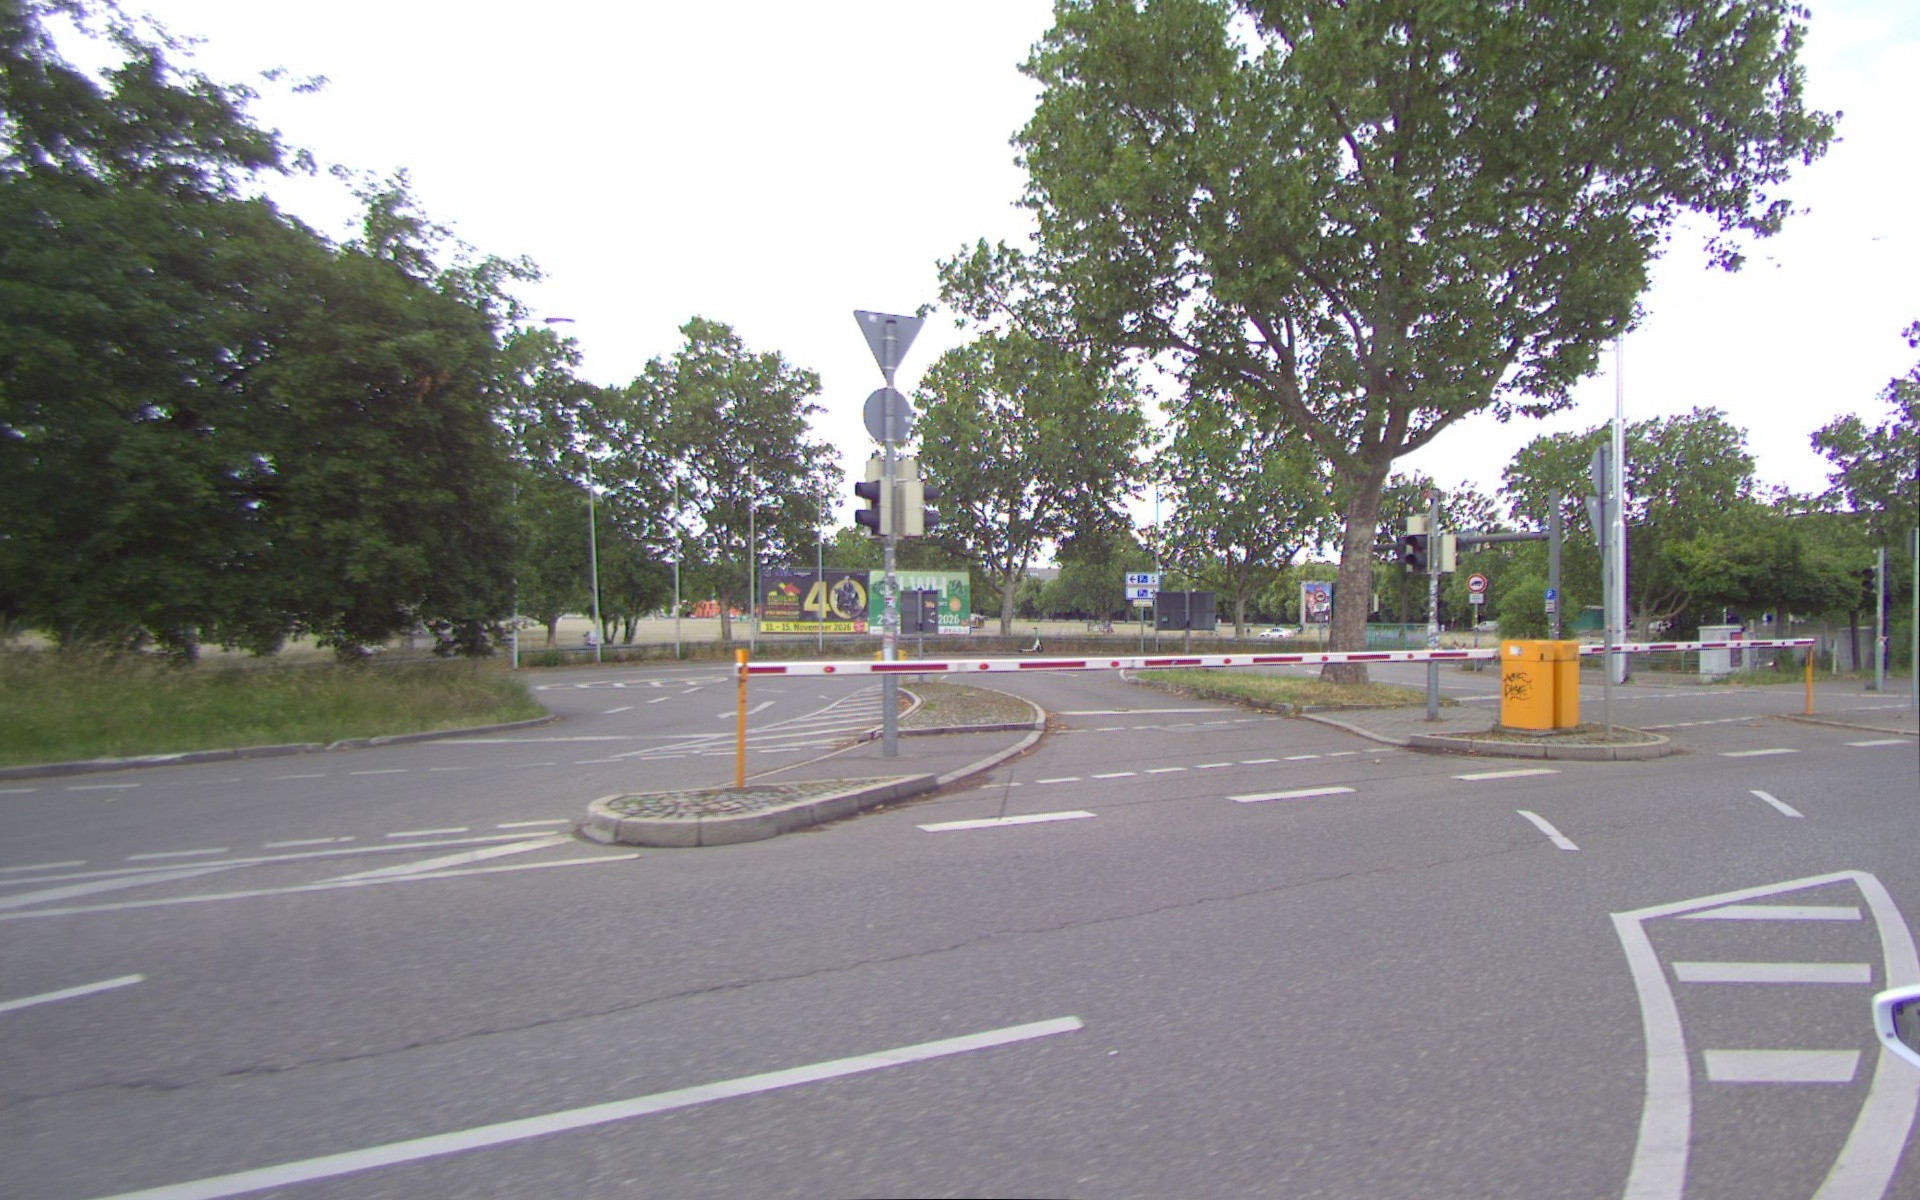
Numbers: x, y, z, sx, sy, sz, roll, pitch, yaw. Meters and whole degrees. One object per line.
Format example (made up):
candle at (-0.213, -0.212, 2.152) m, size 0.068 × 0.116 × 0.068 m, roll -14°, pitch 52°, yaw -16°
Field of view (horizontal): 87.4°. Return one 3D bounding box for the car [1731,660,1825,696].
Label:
car at (46.142, 4.399, 56.684) m, size 4.518 × 1.860 × 1.880 m, roll 1°, pitch 1°, yaw -16°

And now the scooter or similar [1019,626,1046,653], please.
scooter or similar at (3.355, 1.830, 46.482) m, size 1.201 × 1.237 × 0.414 m, roll 1°, pitch 0°, yaw -19°
